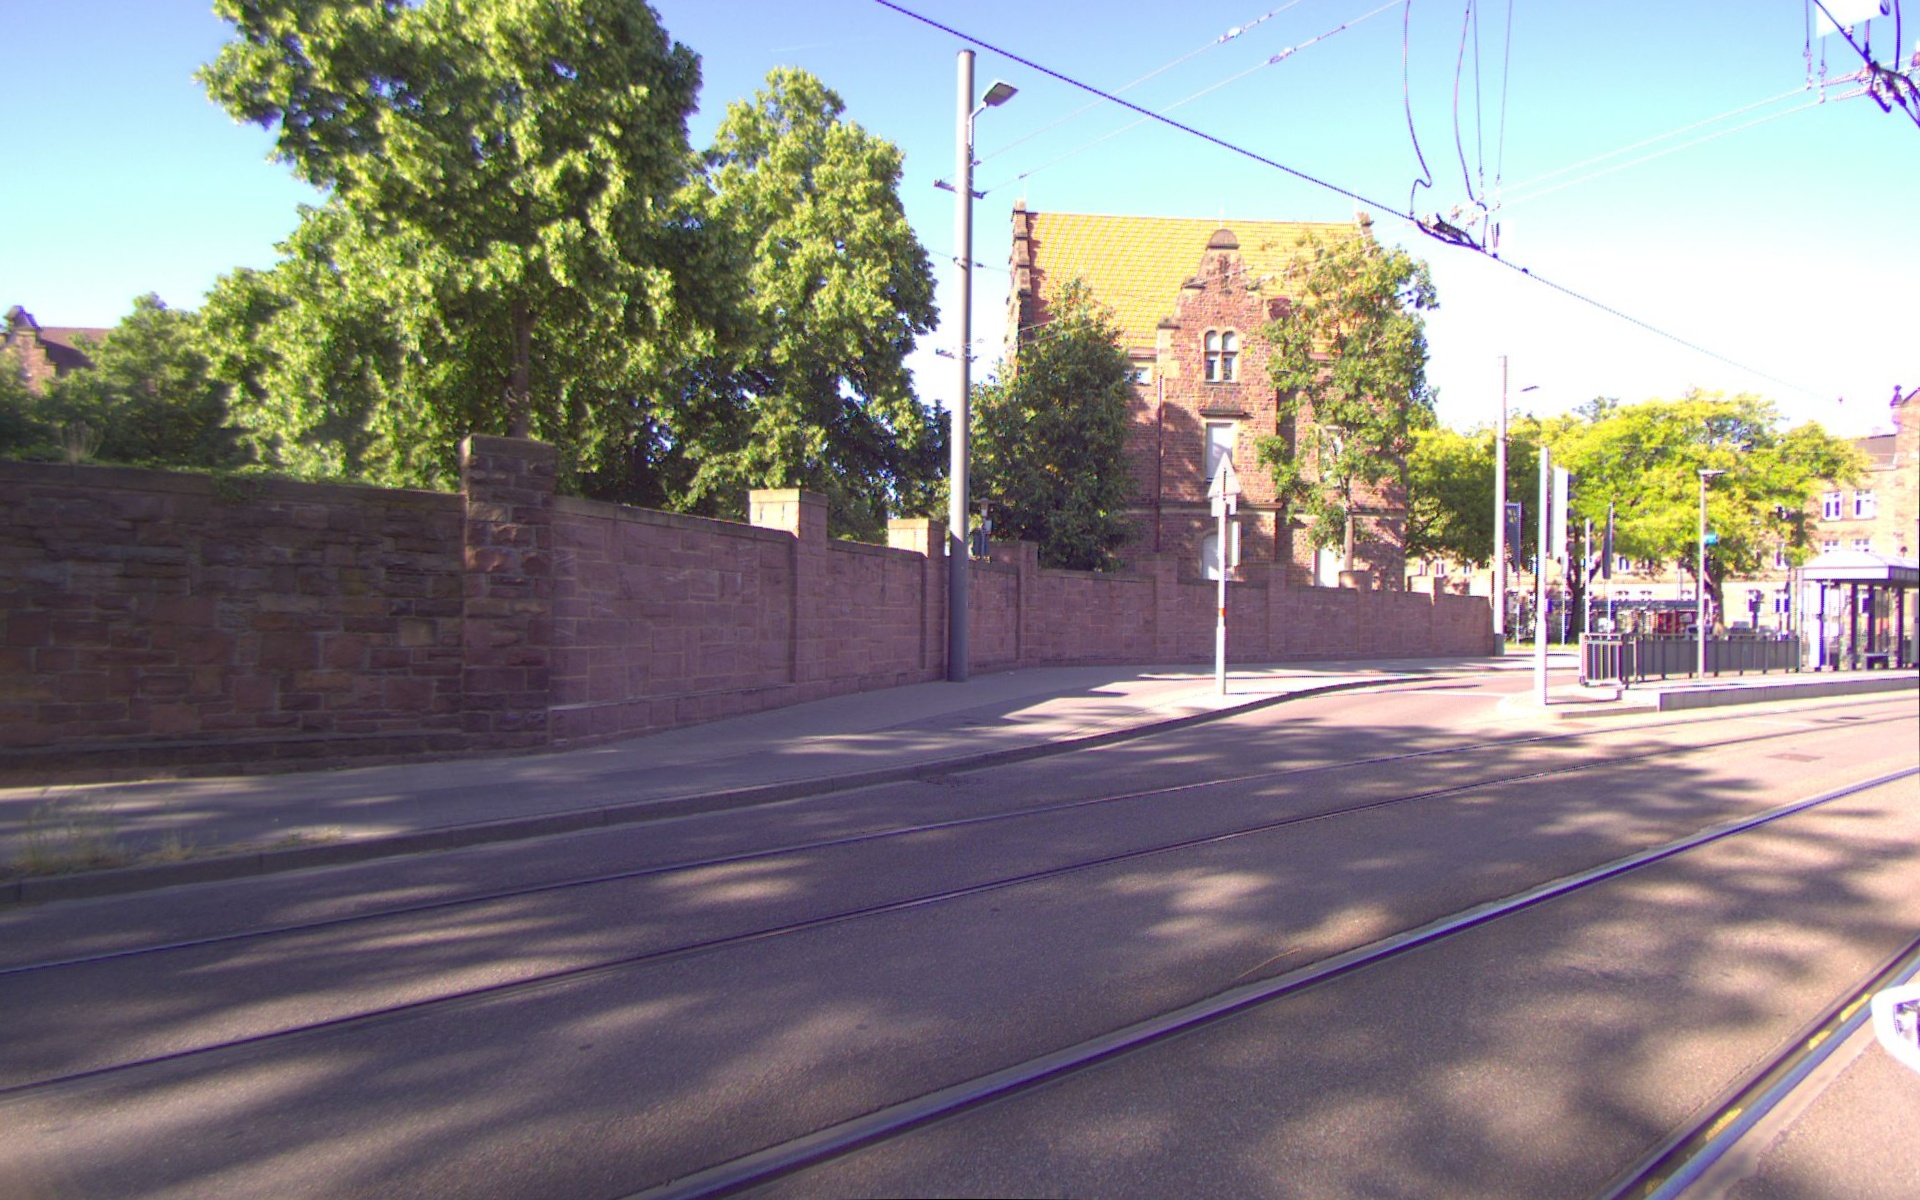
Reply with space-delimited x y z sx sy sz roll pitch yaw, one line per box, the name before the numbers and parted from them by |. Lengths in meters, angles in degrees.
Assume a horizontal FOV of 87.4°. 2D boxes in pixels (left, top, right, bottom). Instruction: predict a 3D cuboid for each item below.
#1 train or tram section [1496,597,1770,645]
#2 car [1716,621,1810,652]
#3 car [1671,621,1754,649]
train or tram section | 50.020 1.471 75.890 3.312 3.196 17.280 2 -1 -33
car | 47.747 2.170 59.801 1.798 1.651 3.964 2 0 -32
car | 49.171 2.253 65.685 1.798 1.651 3.964 2 0 -32
